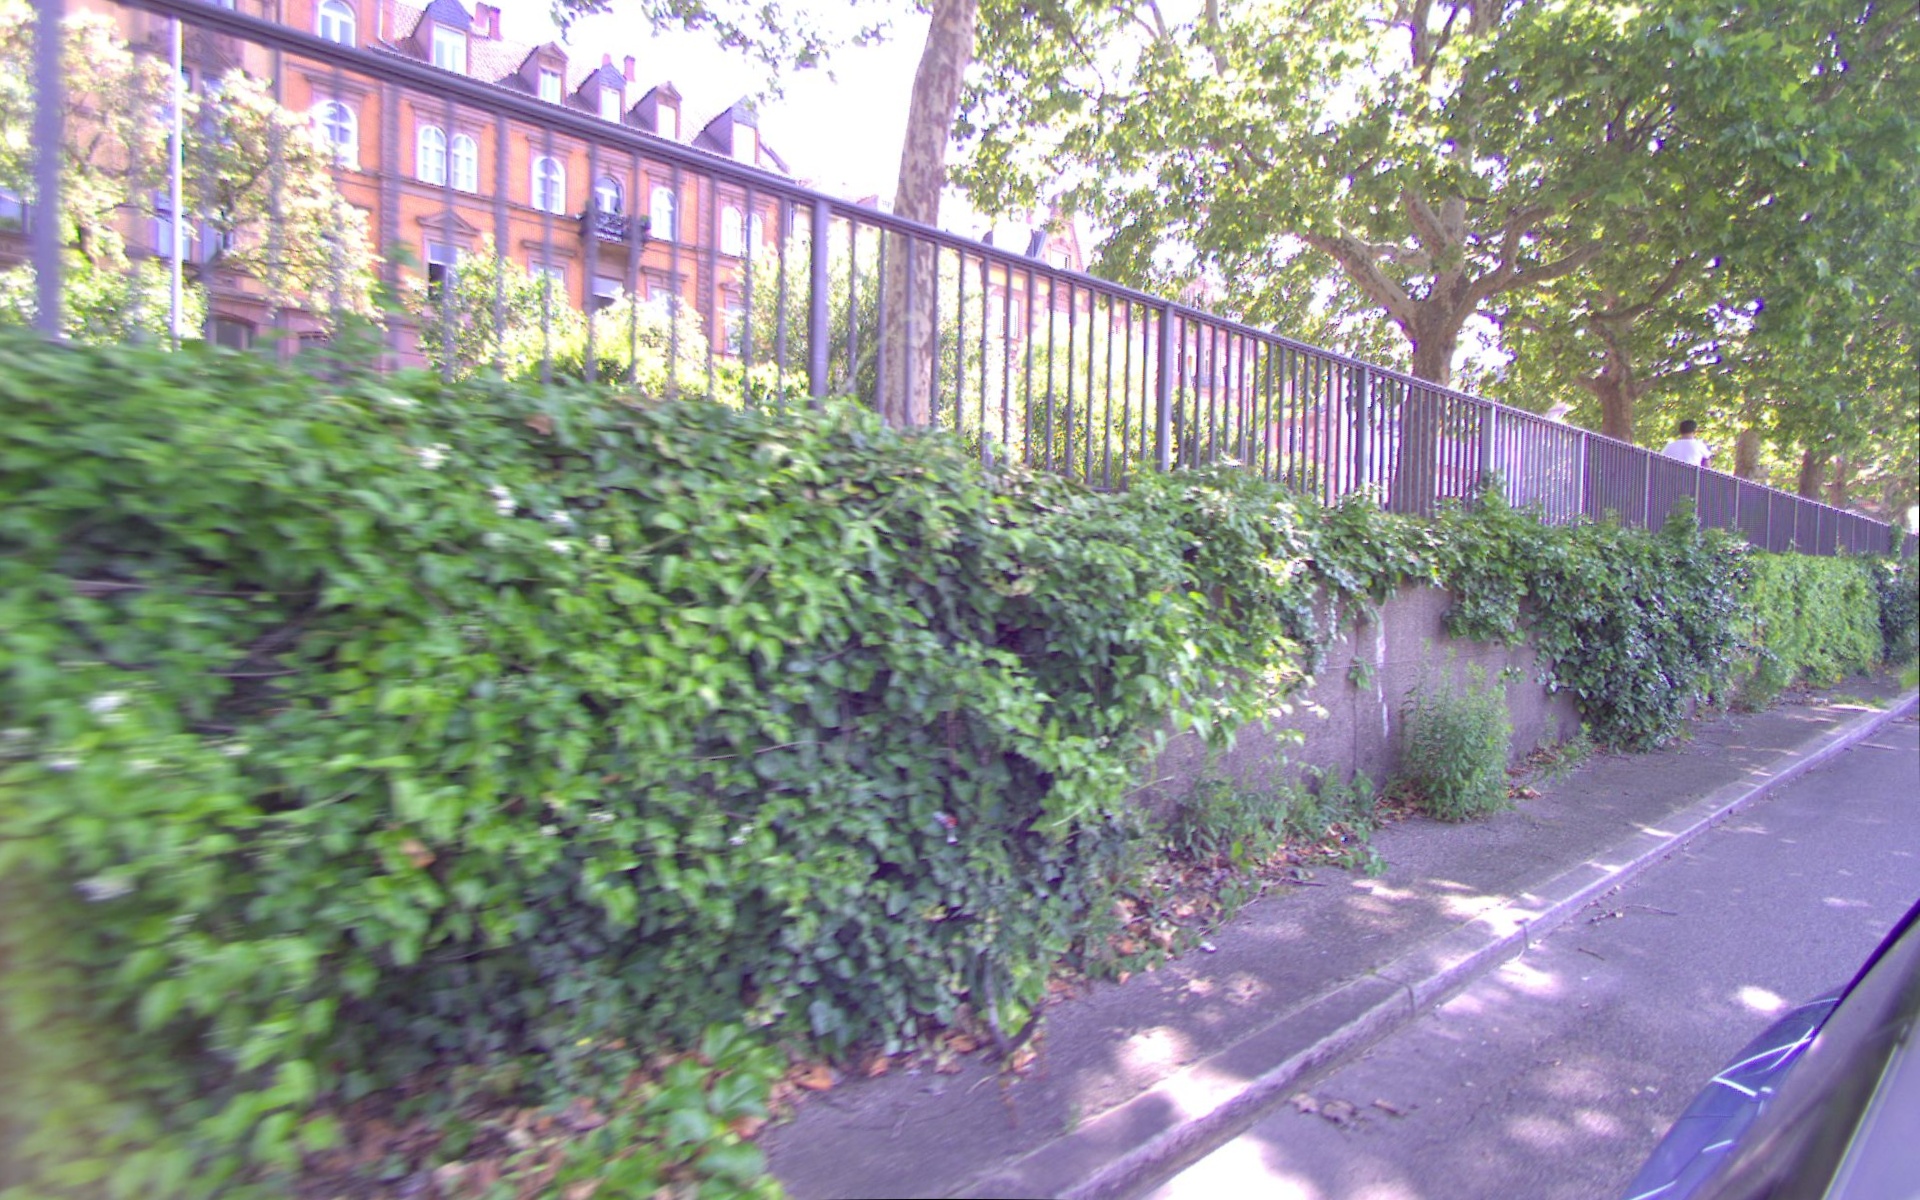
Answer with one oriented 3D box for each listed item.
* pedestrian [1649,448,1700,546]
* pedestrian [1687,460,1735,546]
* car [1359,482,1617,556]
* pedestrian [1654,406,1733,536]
[{"bbox_3d":[12.586,-1.789,17.827,0.646,1.660,0.617,2,2,41],"label":"pedestrian"},{"bbox_3d":[12.964,-1.657,17.473,0.584,1.437,0.580,2,2,41],"label":"pedestrian"},{"bbox_3d":[9.260,-1.369,17.937,1.623,1.128,3.735,0,2,-43],"label":"car"},{"bbox_3d":[9.597,-1.654,13.248,0.639,1.611,0.666,0,2,-42],"label":"pedestrian"}]
